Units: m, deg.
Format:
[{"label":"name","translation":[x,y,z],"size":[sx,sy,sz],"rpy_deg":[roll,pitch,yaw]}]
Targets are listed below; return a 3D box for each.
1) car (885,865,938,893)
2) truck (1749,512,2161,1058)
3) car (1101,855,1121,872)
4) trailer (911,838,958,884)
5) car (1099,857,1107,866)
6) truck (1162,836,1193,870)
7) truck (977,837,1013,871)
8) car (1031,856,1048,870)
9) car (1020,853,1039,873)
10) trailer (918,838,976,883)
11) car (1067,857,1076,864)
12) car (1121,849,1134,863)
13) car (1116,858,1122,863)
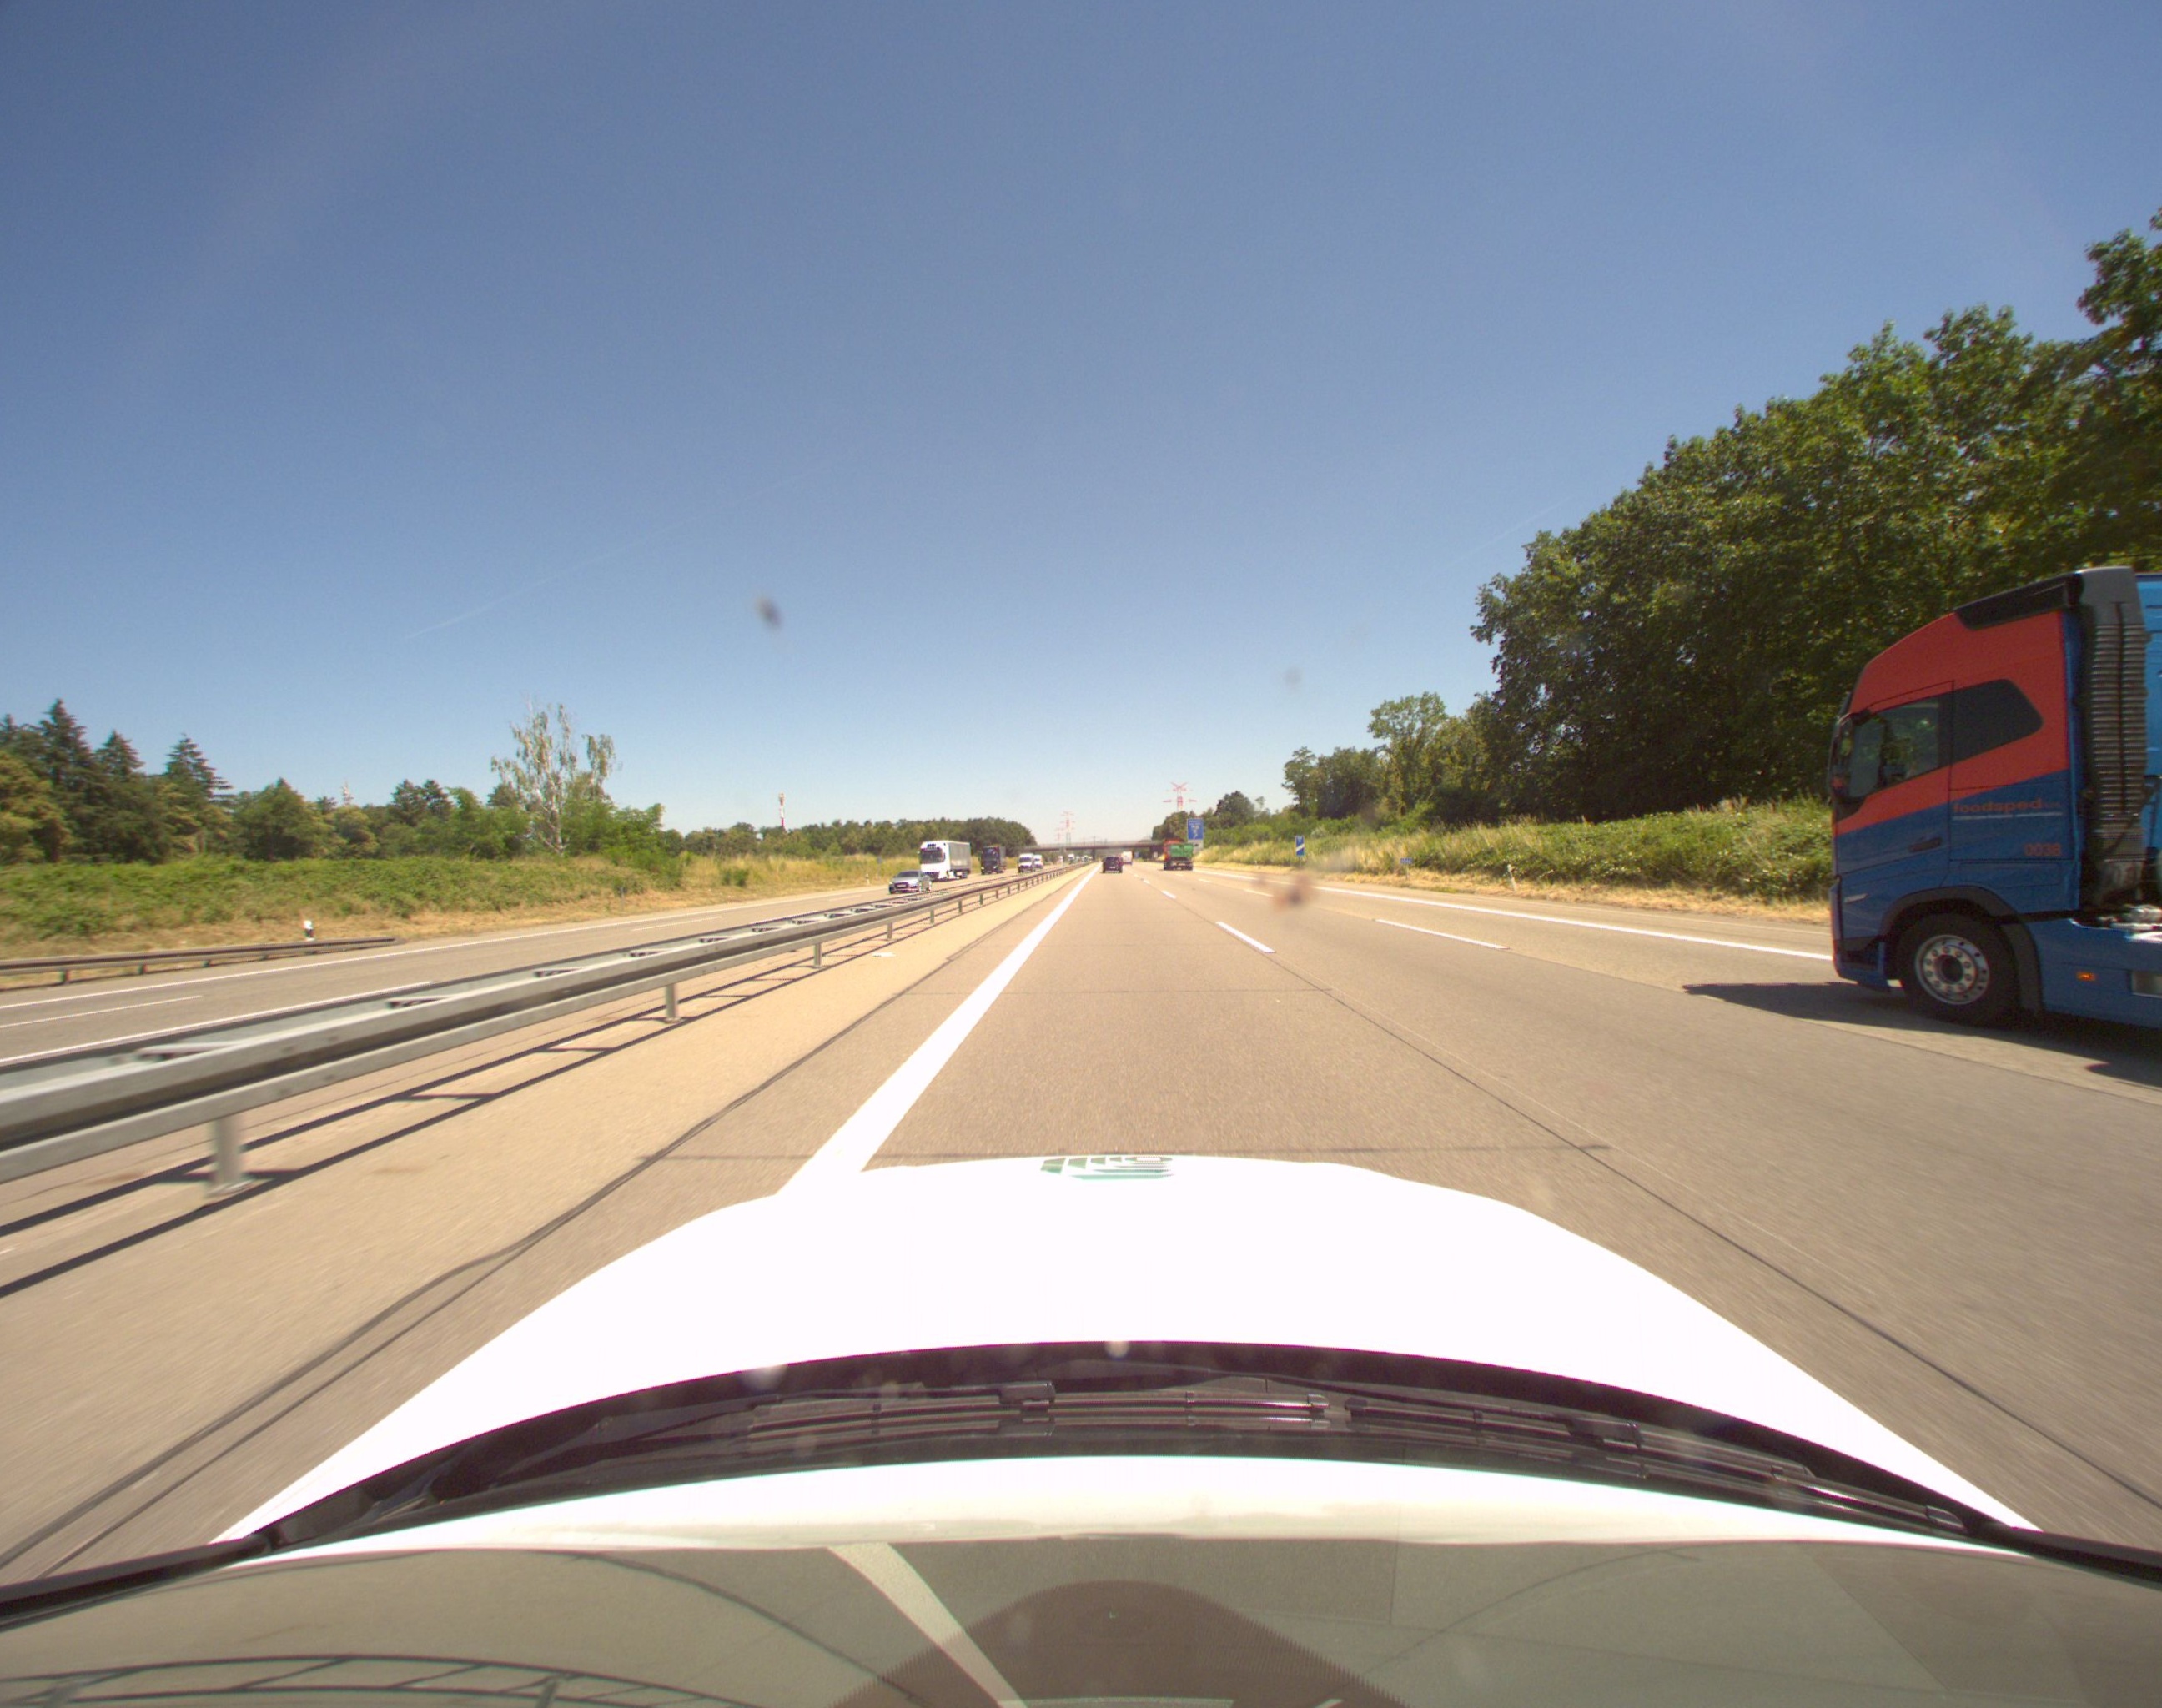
[{"label":"car","translation":[-10.292,1.486,49.750],"size":[1.955,1.429,5.291],"rpy_deg":[-3,0,1]},{"label":"truck","translation":[8.672,-0.475,6.057],"size":[2.519,3.734,6.101],"rpy_deg":[0,0,2]},{"label":"car","translation":[3.004,0.944,82.261],"size":[1.986,1.750,4.001],"rpy_deg":[0,0,1]},{"label":"trailer","translation":[-14.479,0.654,81.049],"size":[3.143,4.198,6.328],"rpy_deg":[-4,0,2]},{"label":"car","translation":[4.613,1.616,171.601],"size":[1.787,1.750,4.001],"rpy_deg":[0,0,1]},{"label":"truck","translation":[11.517,-0.089,97.918],"size":[2.671,3.798,12.483],"rpy_deg":[0,0,2]},{"label":"truck","translation":[-12.822,0.036,122.831],"size":[3.364,4.625,12.192],"rpy_deg":[-4,-1,2]},{"label":"car","translation":[-7.583,1.670,149.859],"size":[2.355,2.448,7.135],"rpy_deg":[-4,0,1]},{"label":"car","translation":[-7.155,1.236,113.885],"size":[1.986,2.570,6.392],"rpy_deg":[-4,0,2]},{"label":"trailer","translation":[-14.261,0.689,88.103],"size":[3.143,4.198,14.131],"rpy_deg":[-4,0,2]},{"label":"car","translation":[-2.654,1.927,234.144],"size":[2.355,1.895,5.226],"rpy_deg":[-4,0,1]},{"label":"car","translation":[9.739,0.419,171.025],"size":[2.611,2.759,6.098],"rpy_deg":[0,0,2]},{"label":"car","translation":[12.087,2.021,258.182],"size":[1.740,1.634,4.005],"rpy_deg":[0,0,2]}]
